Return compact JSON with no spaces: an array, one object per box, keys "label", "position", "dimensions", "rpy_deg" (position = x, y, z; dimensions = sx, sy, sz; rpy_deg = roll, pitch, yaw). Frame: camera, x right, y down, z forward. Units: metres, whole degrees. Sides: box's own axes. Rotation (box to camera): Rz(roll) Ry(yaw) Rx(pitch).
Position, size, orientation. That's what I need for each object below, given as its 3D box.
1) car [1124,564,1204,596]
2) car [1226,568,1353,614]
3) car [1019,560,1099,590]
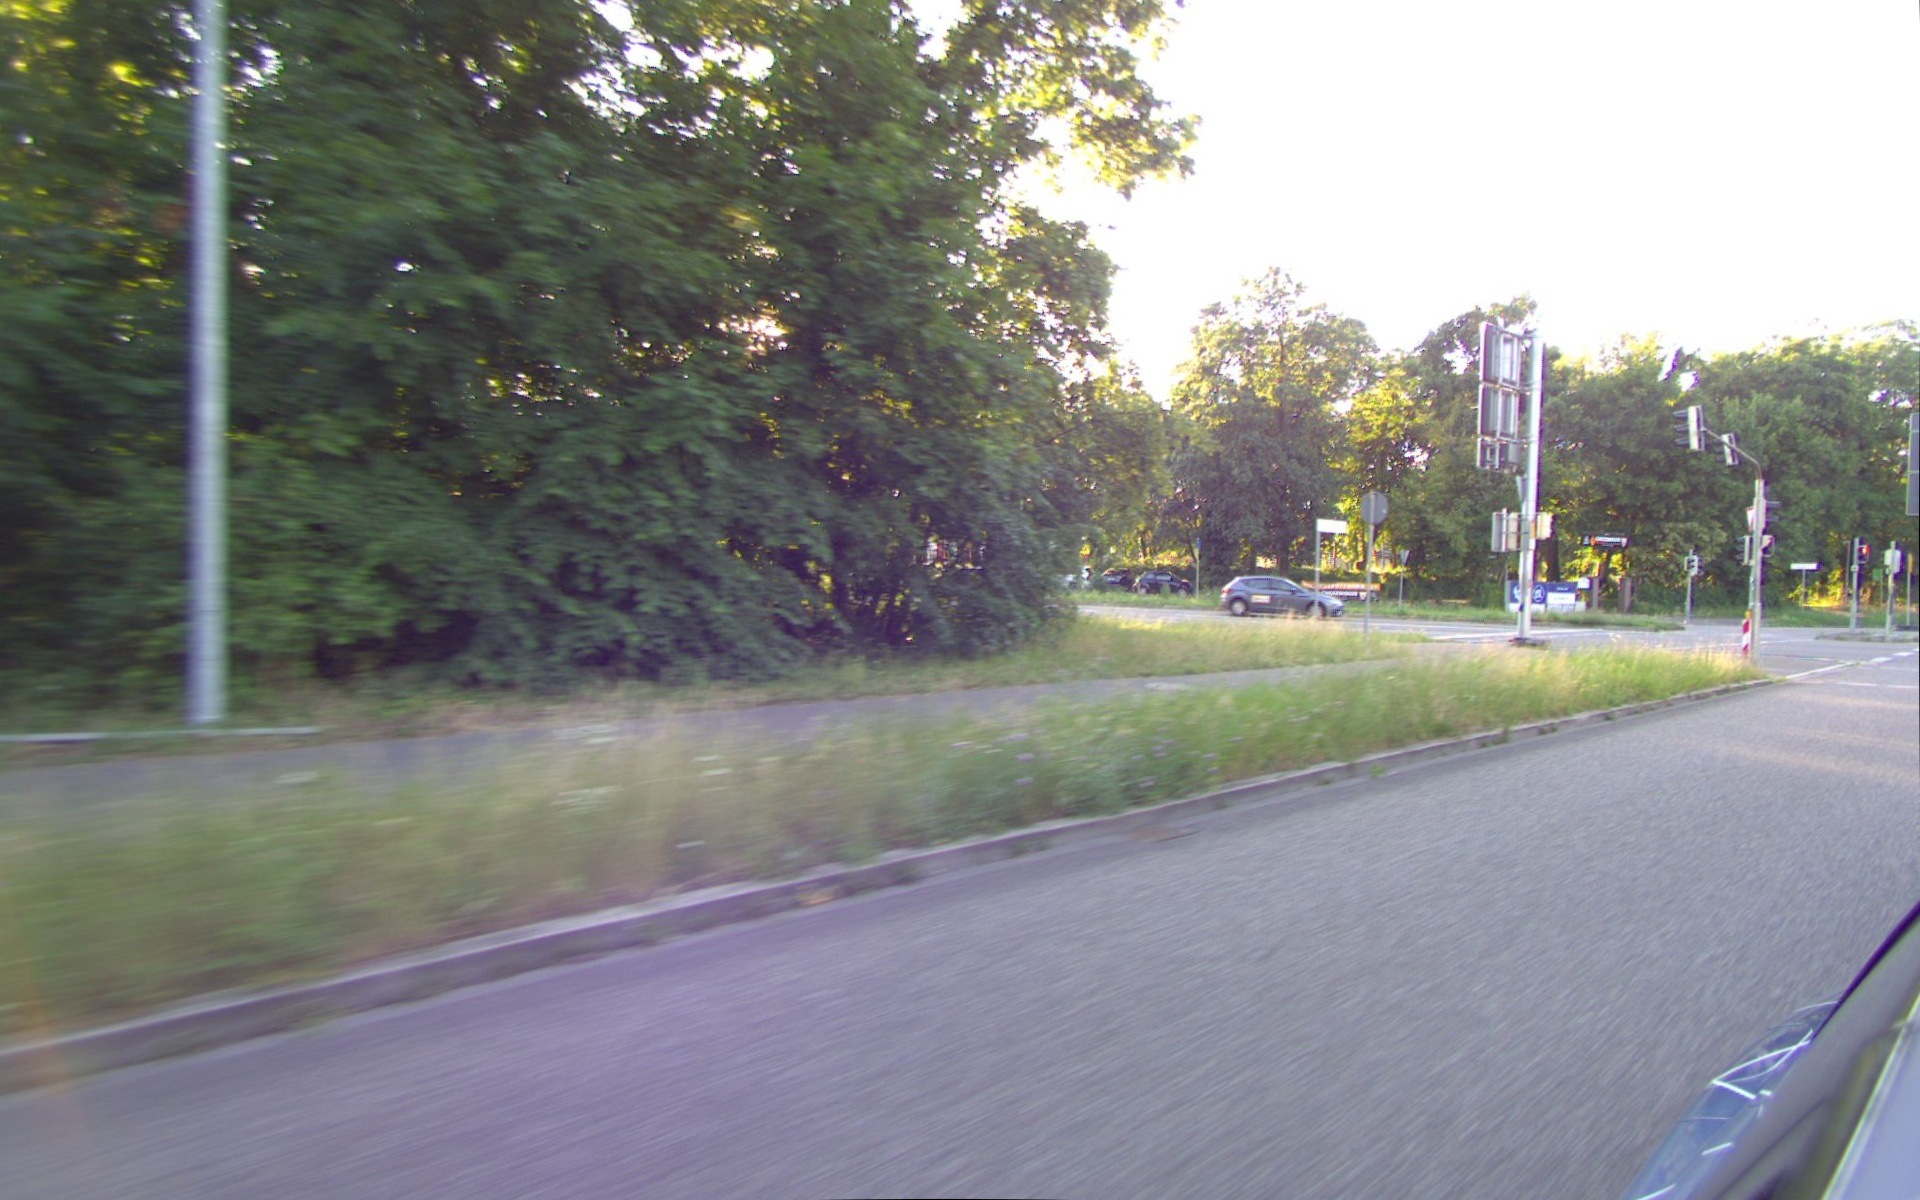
[{"label":"car","position":[11.913,-1.203,59.083],"dimensions":[4.480,1.678,1.858],"rpy_deg":[2,2,14]},{"label":"car","position":[11.601,-0.350,35.663],"dimensions":[4.037,1.422,1.855],"rpy_deg":[2,4,27]},{"label":"car","position":[6.036,-1.532,61.737],"dimensions":[4.497,1.678,1.851],"rpy_deg":[2,2,24]}]
